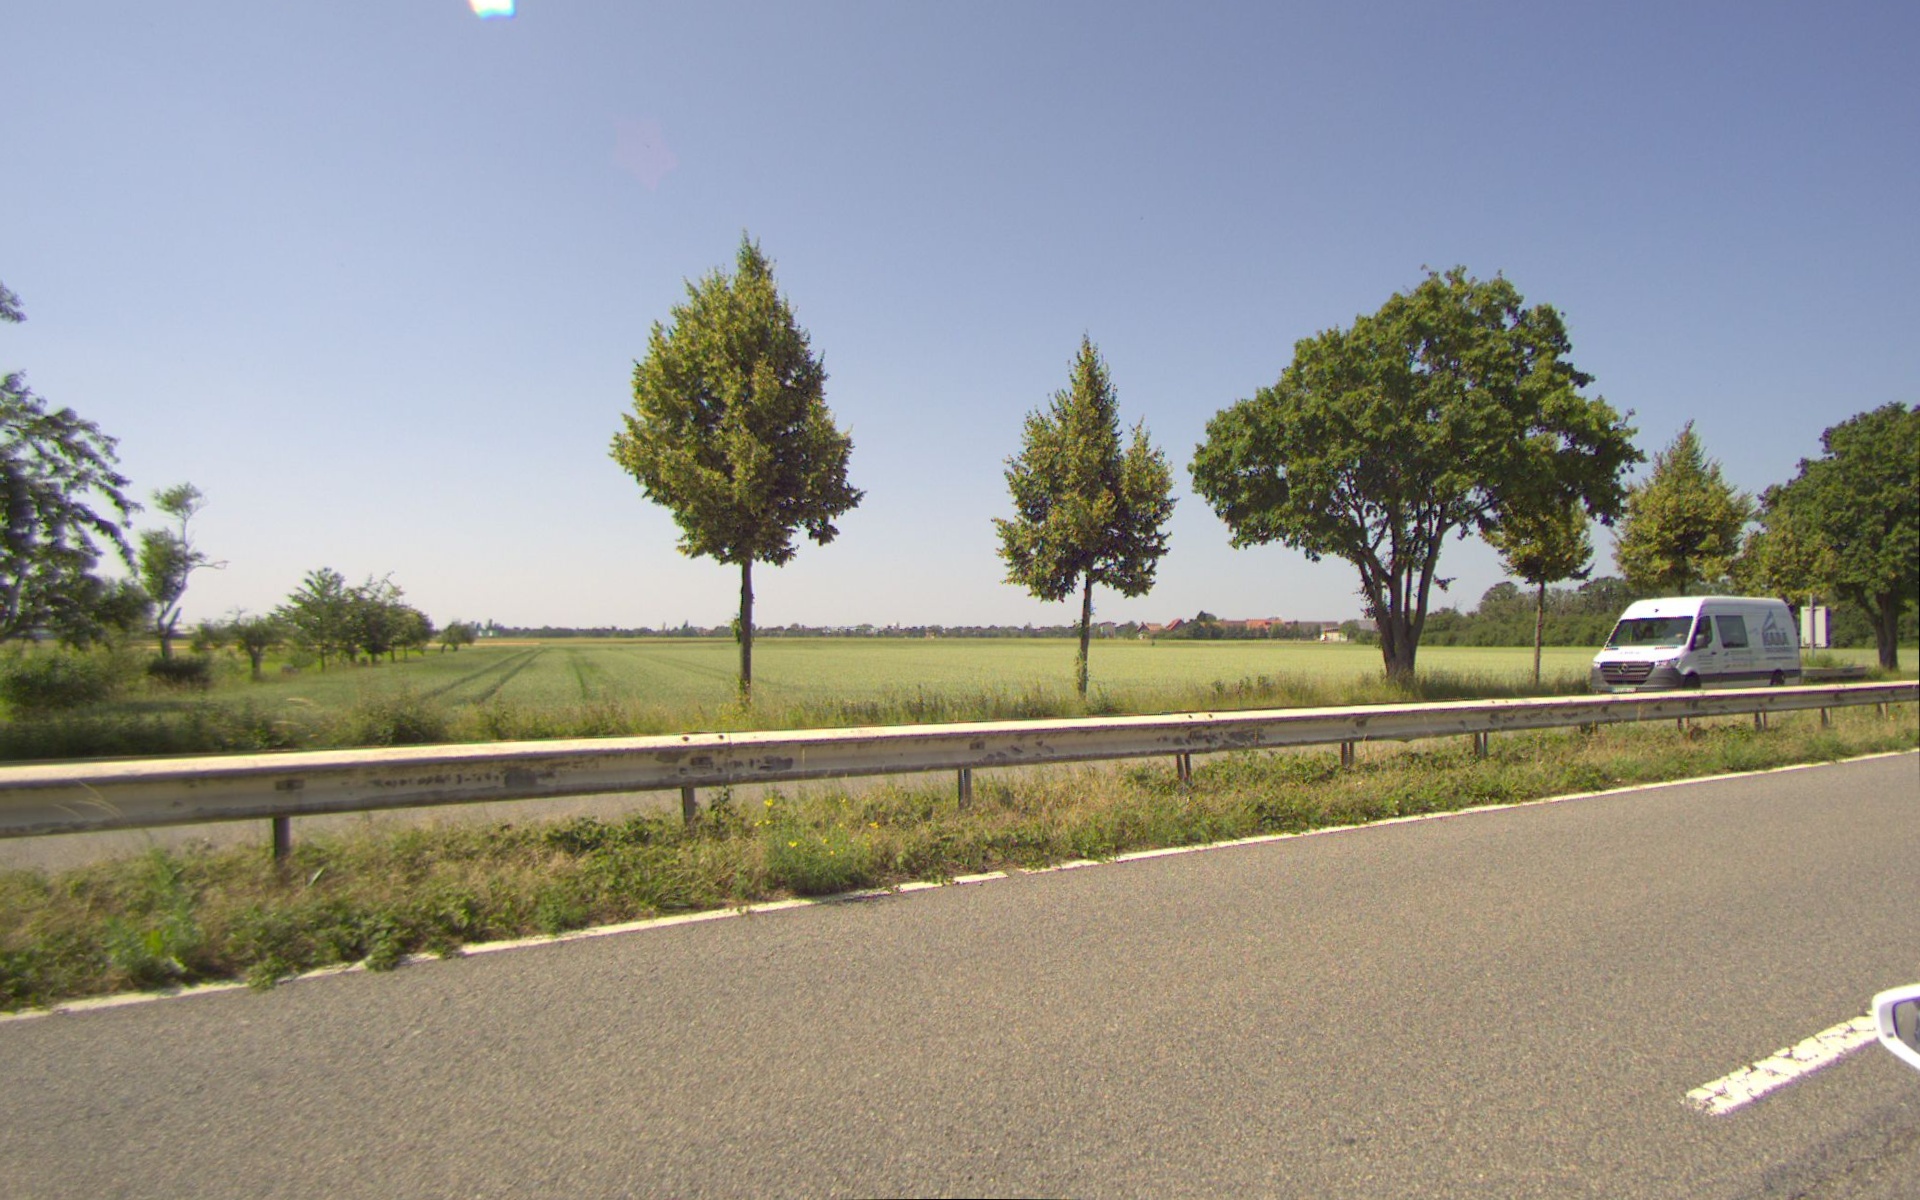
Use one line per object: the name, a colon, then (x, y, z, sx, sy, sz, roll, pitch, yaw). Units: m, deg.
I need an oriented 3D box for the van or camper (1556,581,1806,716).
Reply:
van or camper: (18.087, 1.179, 25.078, 7.007, 2.987, 2.375, 1, -2, -30)
